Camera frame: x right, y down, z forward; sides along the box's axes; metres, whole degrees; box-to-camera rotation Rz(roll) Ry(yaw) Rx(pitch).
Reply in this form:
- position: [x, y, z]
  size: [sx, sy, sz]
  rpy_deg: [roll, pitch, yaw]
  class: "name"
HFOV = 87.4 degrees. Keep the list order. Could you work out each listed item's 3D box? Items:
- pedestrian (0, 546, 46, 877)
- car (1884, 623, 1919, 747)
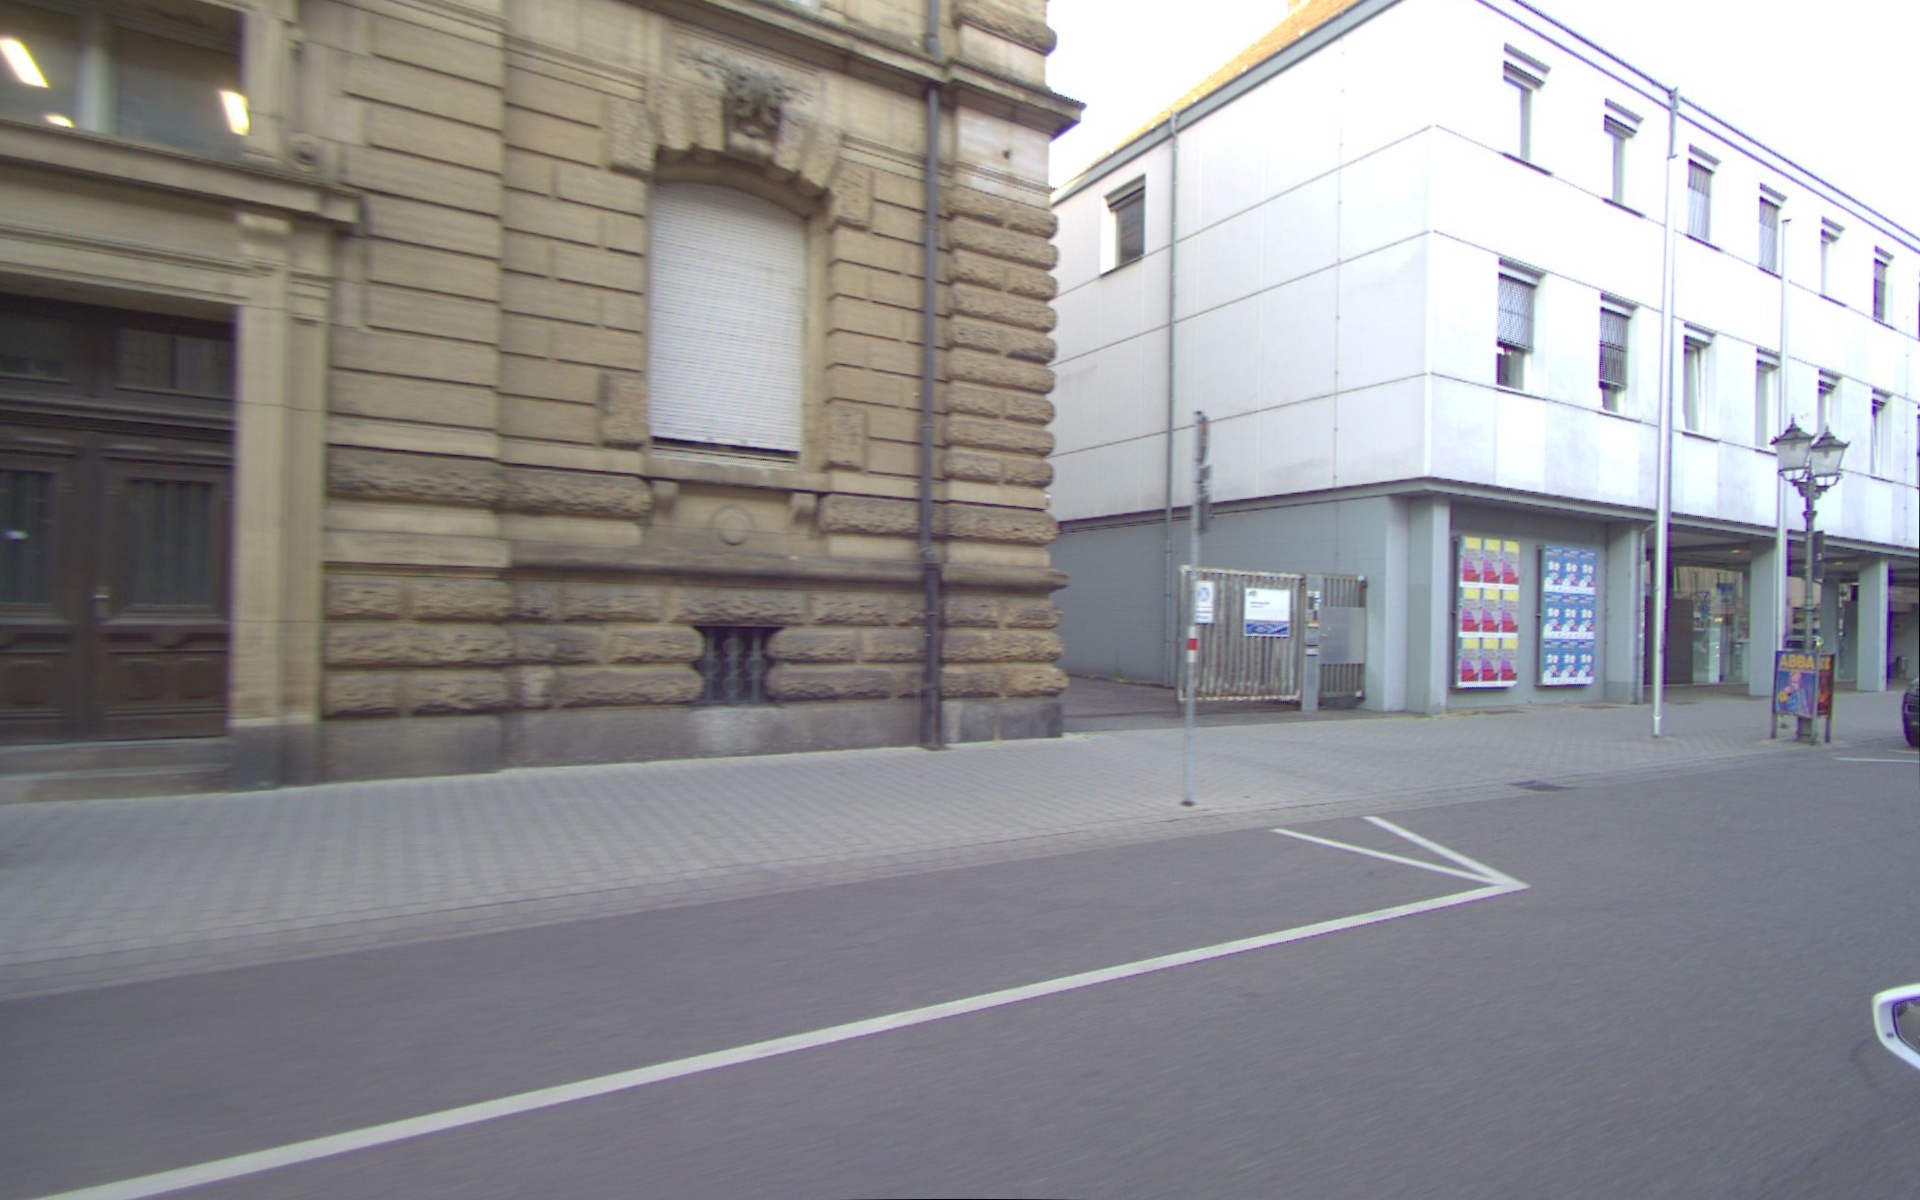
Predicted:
- position: [-5.621, 0.574, 5.398]
  size: [0.885, 1.753, 0.710]
  rpy_deg: [1, 2, -29]
  class: "pedestrian"
- position: [14.798, 1.178, 13.953]
  size: [4.116, 1.636, 1.777]
  rpy_deg: [2, -1, -30]
  class: "car"
